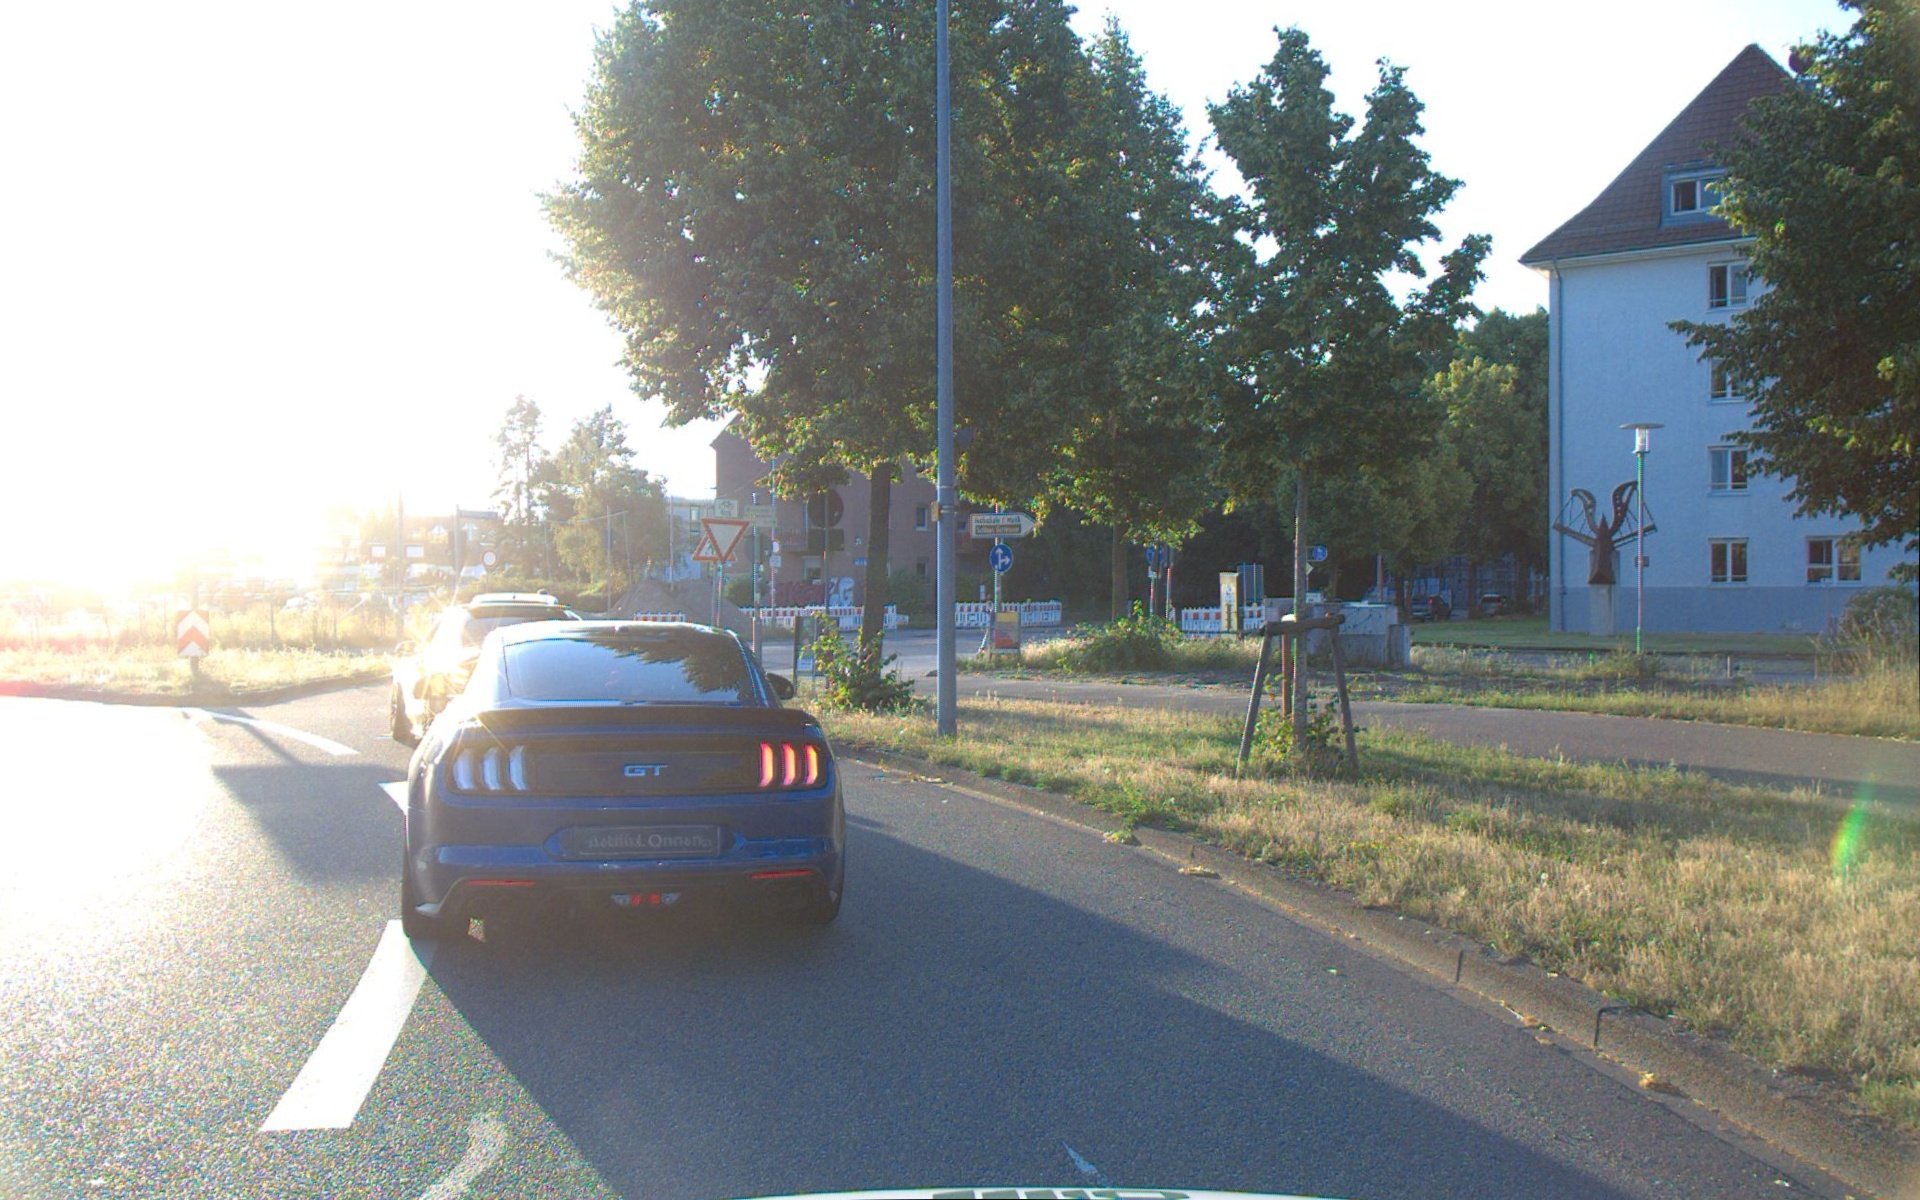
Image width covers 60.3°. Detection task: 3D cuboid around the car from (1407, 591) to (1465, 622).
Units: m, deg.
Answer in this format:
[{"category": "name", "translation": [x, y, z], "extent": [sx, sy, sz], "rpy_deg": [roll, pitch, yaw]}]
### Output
[{"category": "car", "translation": [25.700, 0.335, 89.221], "extent": [1.917, 1.630, 4.065], "rpy_deg": [1, 0, 34]}]

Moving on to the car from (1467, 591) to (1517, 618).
[{"category": "car", "translation": [32.458, 0.268, 100.868], "extent": [1.917, 1.630, 4.065], "rpy_deg": [1, 0, 34]}]

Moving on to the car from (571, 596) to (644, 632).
[{"category": "car", "translation": [-17.400, 0.683, 81.494], "extent": [1.981, 1.736, 3.943], "rpy_deg": [0, 0, -39]}]

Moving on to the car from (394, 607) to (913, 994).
[{"category": "car", "translation": [-1.765, 0.735, 8.440], "extent": [1.920, 1.365, 4.649], "rpy_deg": [1, 0, -17]}]

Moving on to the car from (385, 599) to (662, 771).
[{"category": "car", "translation": [-4.485, 0.753, 16.505], "extent": [1.926, 1.452, 4.395], "rpy_deg": [2, -1, -25]}]

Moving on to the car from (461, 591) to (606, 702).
[{"category": "car", "translation": [-6.713, 0.677, 26.398], "extent": [1.916, 1.630, 4.068], "rpy_deg": [0, 0, -10]}]

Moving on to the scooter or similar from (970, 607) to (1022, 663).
[{"category": "scooter or similar", "translation": [0.817, 0.781, 37.375], "extent": [1.103, 1.260, 0.440], "rpy_deg": [0, 0, -18]}]

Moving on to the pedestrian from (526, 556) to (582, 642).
[{"category": "pedestrian", "translation": [-8.204, -0.019, 33.423], "extent": [0.837, 1.716, 0.875], "rpy_deg": [0, 0, -37]}]
